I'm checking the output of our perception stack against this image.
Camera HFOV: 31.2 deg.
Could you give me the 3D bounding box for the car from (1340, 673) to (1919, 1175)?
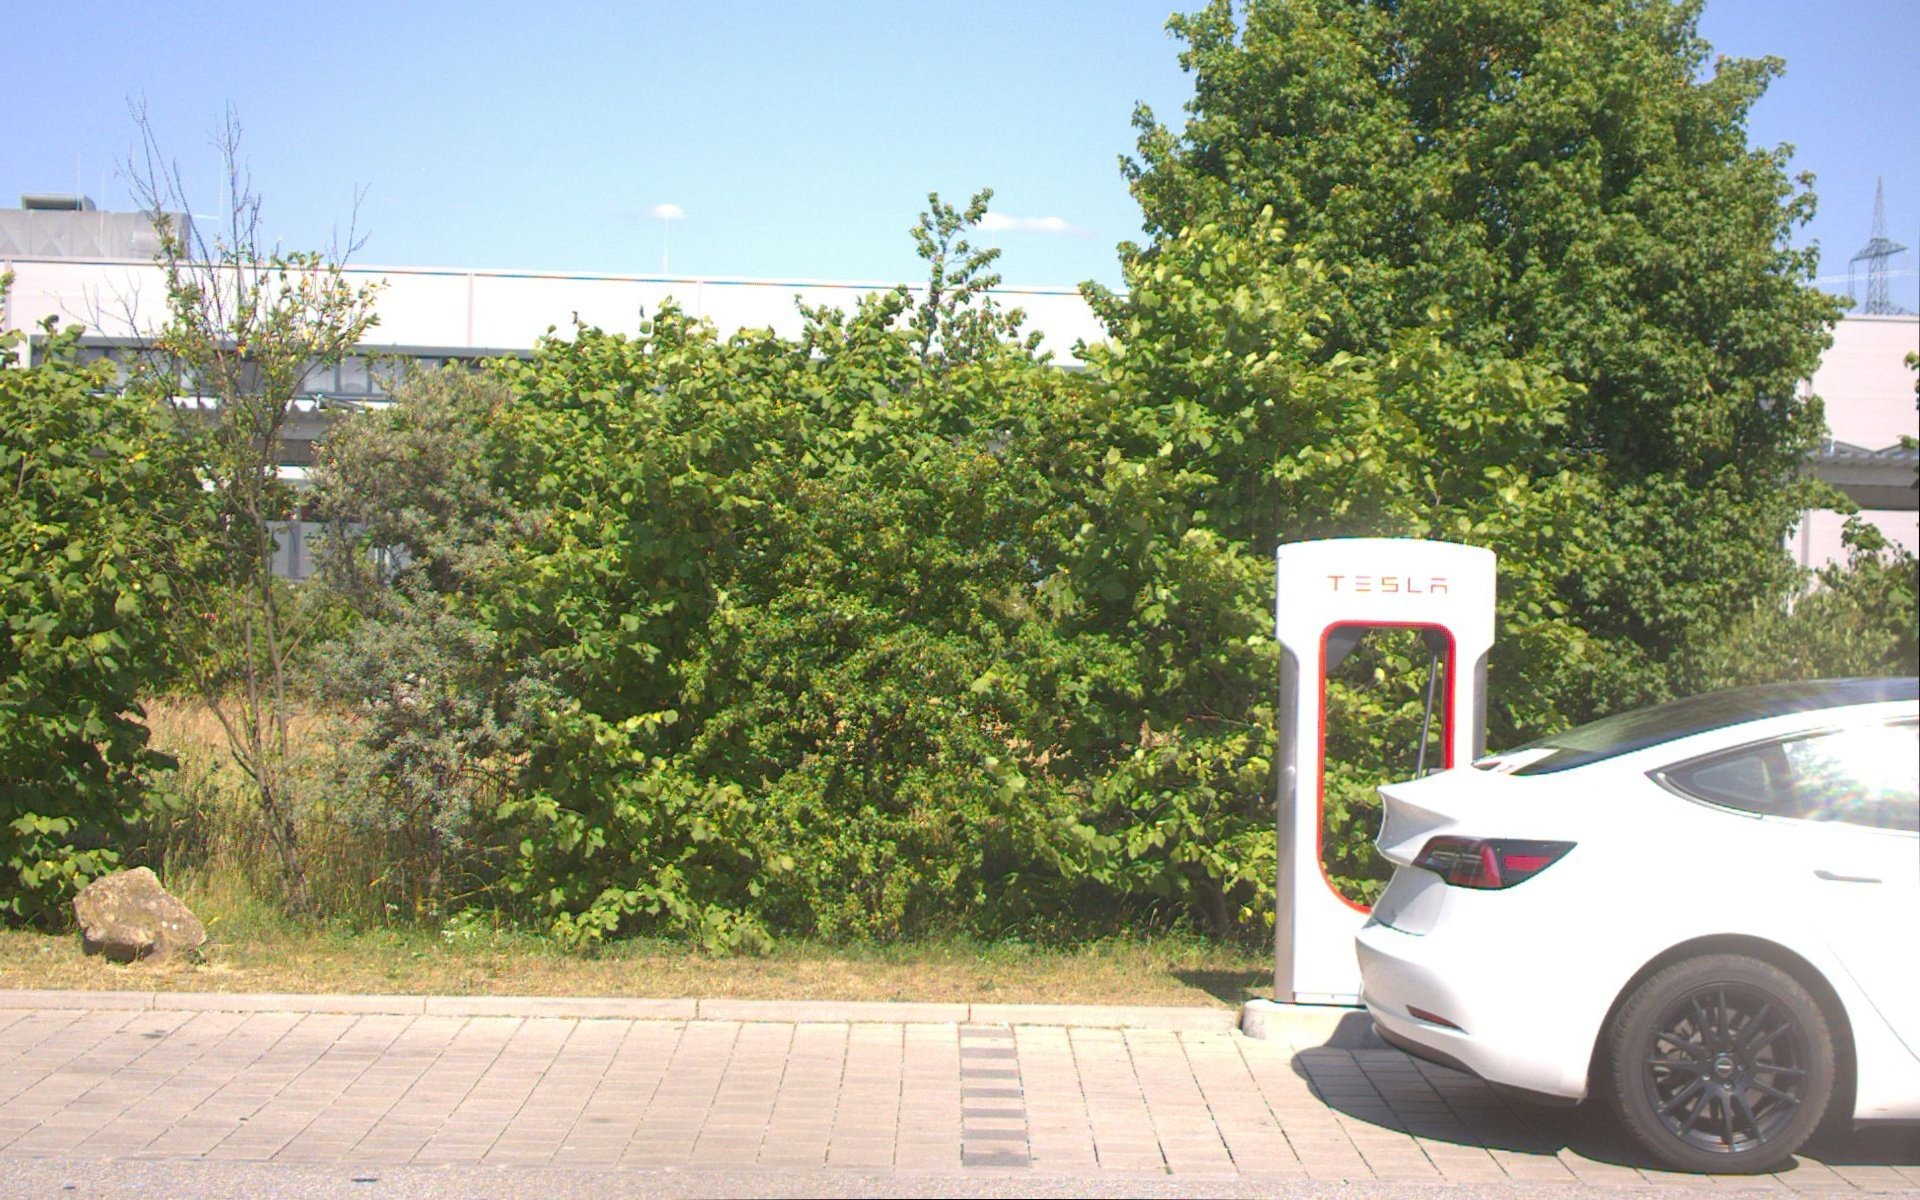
[{"bbox_3d":[3.535,0.979,10.807,4.434,1.373,1.822,1,0,-1],"label":"car"}]
